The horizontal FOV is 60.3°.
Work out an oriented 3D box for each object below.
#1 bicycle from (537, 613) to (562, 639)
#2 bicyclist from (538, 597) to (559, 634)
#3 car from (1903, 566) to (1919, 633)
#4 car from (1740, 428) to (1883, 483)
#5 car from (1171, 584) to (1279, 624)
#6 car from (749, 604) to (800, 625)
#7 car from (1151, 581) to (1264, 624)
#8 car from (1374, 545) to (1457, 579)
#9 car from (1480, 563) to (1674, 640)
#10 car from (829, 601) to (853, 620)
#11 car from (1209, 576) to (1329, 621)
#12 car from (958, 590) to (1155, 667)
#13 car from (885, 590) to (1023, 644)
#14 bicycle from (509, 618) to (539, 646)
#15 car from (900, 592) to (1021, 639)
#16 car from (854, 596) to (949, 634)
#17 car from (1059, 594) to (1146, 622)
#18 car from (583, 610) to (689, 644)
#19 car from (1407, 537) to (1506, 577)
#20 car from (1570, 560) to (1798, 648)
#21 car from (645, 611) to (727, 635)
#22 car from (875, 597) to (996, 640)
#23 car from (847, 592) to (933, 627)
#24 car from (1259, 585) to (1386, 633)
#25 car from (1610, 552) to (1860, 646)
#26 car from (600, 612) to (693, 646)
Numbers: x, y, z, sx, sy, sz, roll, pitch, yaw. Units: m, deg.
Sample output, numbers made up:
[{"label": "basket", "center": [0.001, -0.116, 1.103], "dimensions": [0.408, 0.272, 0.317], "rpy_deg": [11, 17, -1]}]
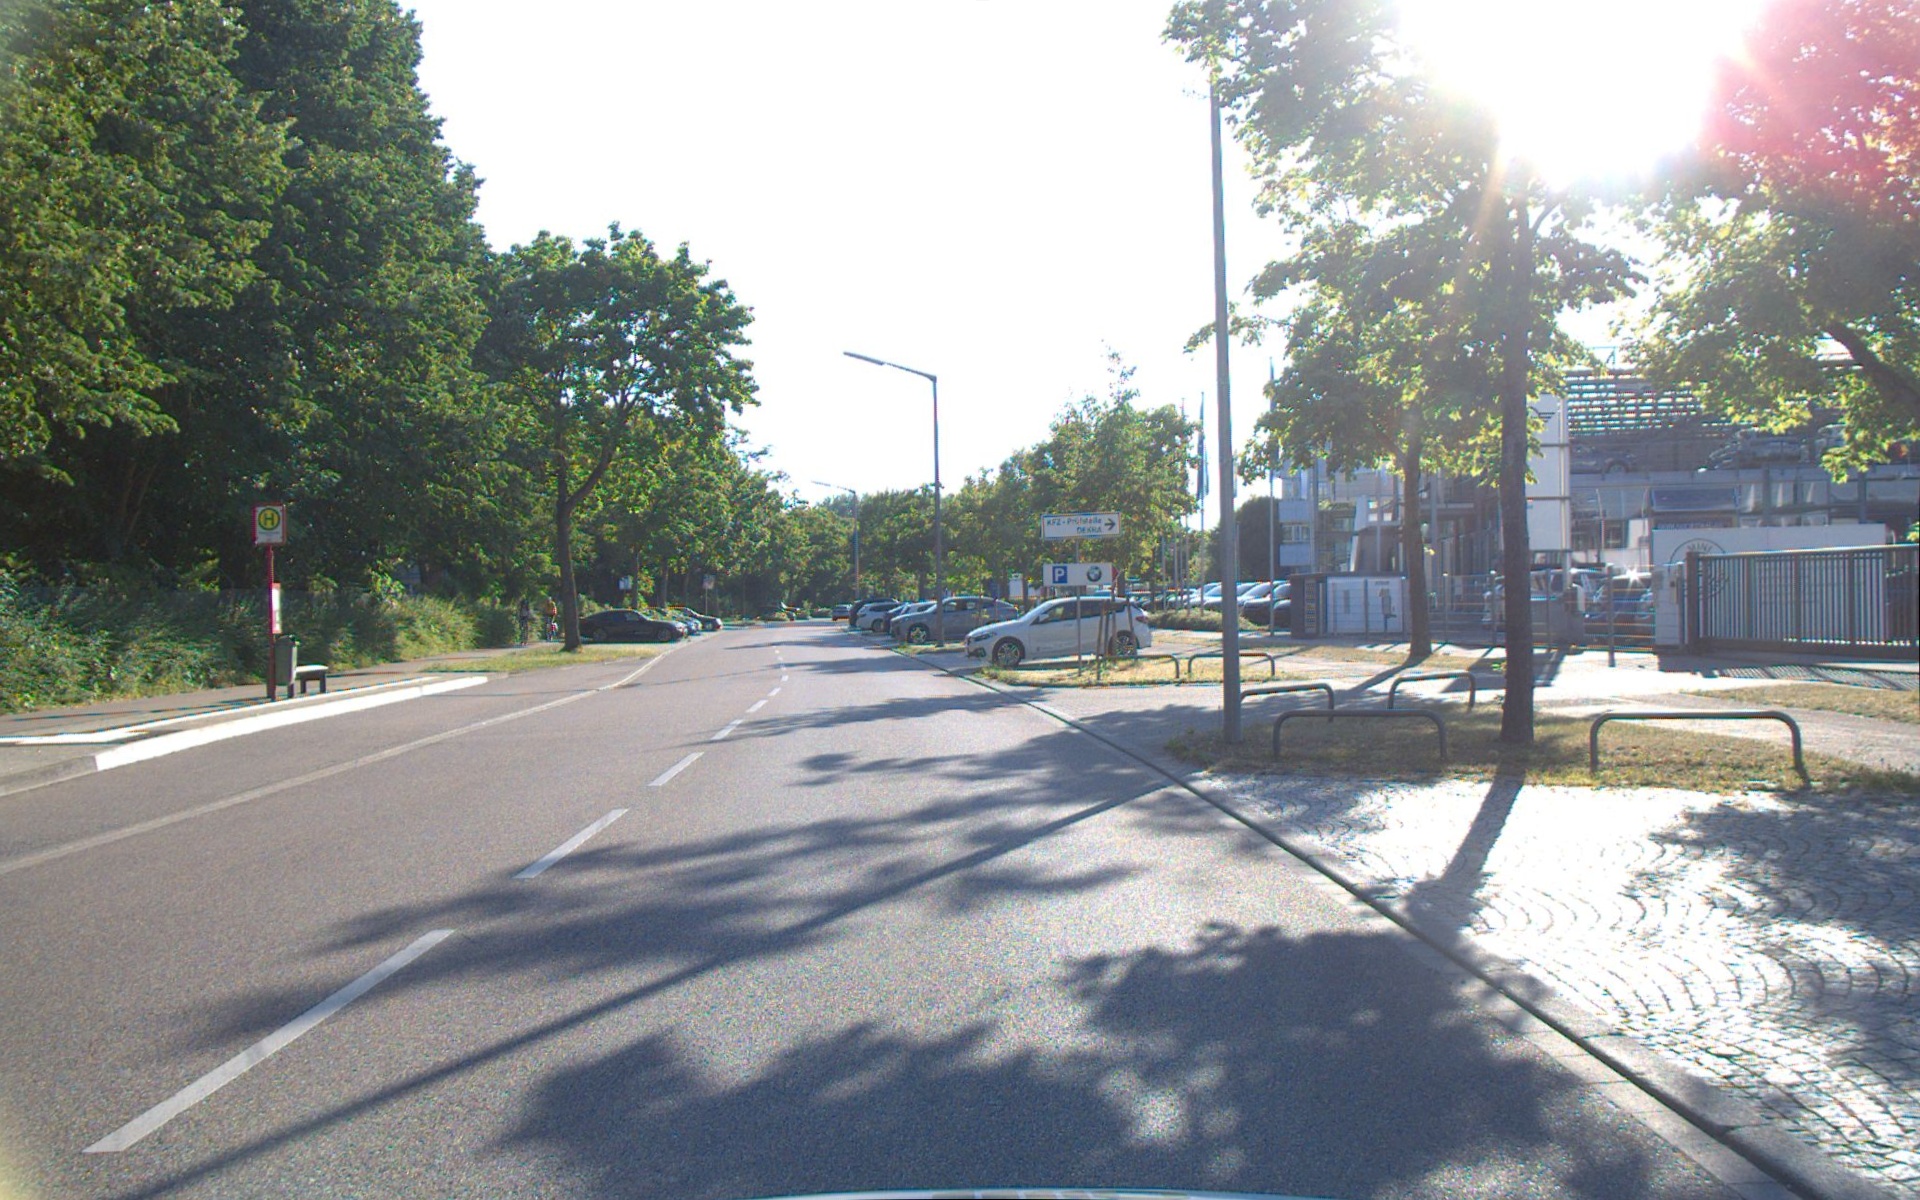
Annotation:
[{"label": "bicycle", "center": [-17.785, 1.121, 71.701], "dimensions": [0.751, 1.057, 2.214], "rpy_deg": [-2, 0, -6]}, {"label": "bicyclist", "center": [-17.799, 0.675, 71.594], "dimensions": [0.717, 1.557, 0.950], "rpy_deg": [-2, 0, -6]}, {"label": "car", "center": [25.458, -0.082, 40.224], "dimensions": [3.902, 1.606, 2.001], "rpy_deg": [-2, -3, 13]}, {"label": "car", "center": [28.739, -4.867, 55.916], "dimensions": [3.902, 1.695, 1.789], "rpy_deg": [1, 0, 7]}, {"label": "car", "center": [11.594, 0.160, 72.307], "dimensions": [4.548, 1.601, 1.977], "rpy_deg": [-2, 0, -33]}, {"label": "car", "center": [-19.026, 1.479, 169.522], "dimensions": [4.901, 2.055, 2.175], "rpy_deg": [-1, 0, 1]}, {"label": "car", "center": [11.303, 0.110, 75.363], "dimensions": [4.671, 1.720, 2.384], "rpy_deg": [-3, 0, -33]}, {"label": "car", "center": [23.670, -1.957, 86.061], "dimensions": [3.902, 1.695, 1.789], "rpy_deg": [1, 0, 7]}, {"label": "car", "center": [14.164, 0.044, 38.190], "dimensions": [3.902, 1.606, 2.002], "rpy_deg": [-2, 0, 13]}, {"label": "car", "center": [-11.358, 1.023, 158.103], "dimensions": [1.952, 1.747, 4.000], "rpy_deg": [-1, 0, 0]}, {"label": "car", "center": [12.420, -0.074, 66.439], "dimensions": [4.545, 1.601, 1.979], "rpy_deg": [-3, 0, -31]}, {"label": "car", "center": [2.152, 0.636, 37.712], "dimensions": [4.120, 1.469, 2.084], "rpy_deg": [-3, 0, -8]}, {"label": "car", "center": [-0.247, 0.576, 57.668], "dimensions": [4.506, 1.612, 1.996], "rpy_deg": [-3, 0, -9]}, {"label": "bicycle", "center": [-16.814, 1.223, 63.849], "dimensions": [0.751, 1.057, 2.214], "rpy_deg": [-2, 0, -6]}, {"label": "car", "center": [-0.011, 0.561, 61.824], "dimensions": [4.293, 1.505, 1.997], "rpy_deg": [-3, 0, -7]}, {"label": "car", "center": [-2.980, 0.749, 83.268], "dimensions": [4.606, 1.504, 1.998], "rpy_deg": [-3, 5, -7]}, {"label": "car", "center": [8.350, 0.495, 97.174], "dimensions": [4.692, 1.489, 1.993], "rpy_deg": [-2, 0, 35]}, {"label": "car", "center": [-14.462, 1.198, 74.009], "dimensions": [4.562, 1.446, 1.913], "rpy_deg": [0, 0, -9]}, {"label": "car", "center": [21.829, -1.883, 72.796], "dimensions": [3.902, 1.695, 1.789], "rpy_deg": [1, 0, 7]}, {"label": "car", "center": [14.680, 0.083, 33.762], "dimensions": [3.902, 1.606, 2.002], "rpy_deg": [-2, 0, 13]}, {"label": "car", "center": [-17.296, 1.446, 104.547], "dimensions": [4.938, 1.488, 1.997], "rpy_deg": [0, 0, -6]}, {"label": "car", "center": [-0.970, 0.708, 64.701], "dimensions": [4.536, 1.481, 1.997], "rpy_deg": [-2, 0, -7]}, {"label": "car", "center": [-3.837, 0.509, 90.899], "dimensions": [4.600, 1.781, 2.191], "rpy_deg": [-2, 0, -2]}, {"label": "car", "center": [13.305, 0.352, 60.585], "dimensions": [4.547, 1.696, 1.977], "rpy_deg": [1, -1, -33]}, {"label": "car", "center": [14.573, -0.010, 31.336], "dimensions": [3.902, 1.606, 2.002], "rpy_deg": [-2, 0, 13]}, {"label": "car", "center": [-15.066, 1.398, 79.668], "dimensions": [4.203, 1.557, 1.998], "rpy_deg": [0, 0, -5]}]
